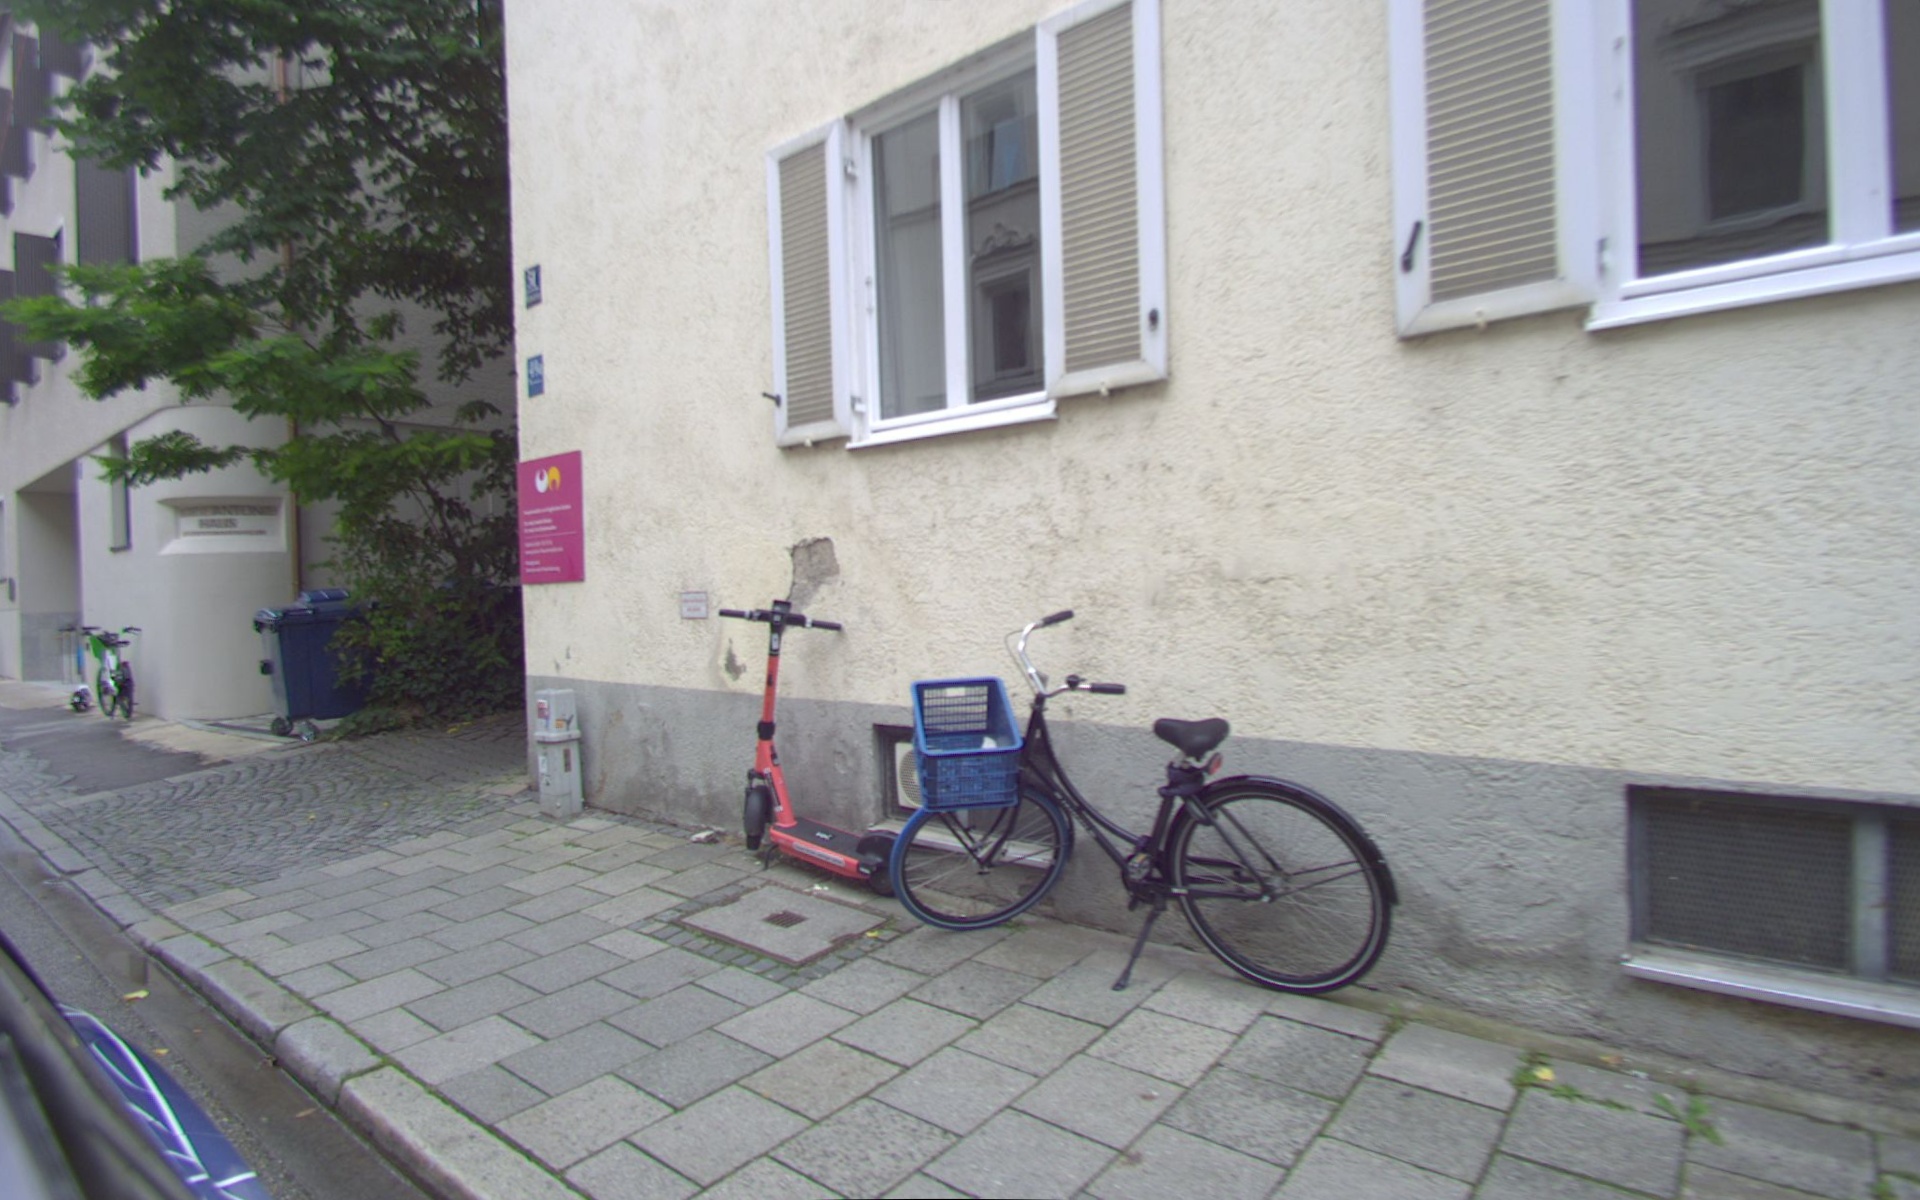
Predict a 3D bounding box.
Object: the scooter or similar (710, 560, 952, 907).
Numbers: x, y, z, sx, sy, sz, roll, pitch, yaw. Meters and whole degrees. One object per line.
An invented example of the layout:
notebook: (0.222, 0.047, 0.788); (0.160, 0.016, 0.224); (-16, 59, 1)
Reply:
scooter or similar: (-0.613, 0.535, 4.557); (1.238, 1.386, 0.314); (-1, 0, 40)

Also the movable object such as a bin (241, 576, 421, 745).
movable object such as a bin: (-6.318, 0.572, 10.164); (1.161, 1.452, 1.249); (-9, 4, -44)

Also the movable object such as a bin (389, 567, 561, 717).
movable object such as a bin: (-5.282, 0.436, 11.022); (1.248, 1.415, 1.162); (-3, 4, 42)

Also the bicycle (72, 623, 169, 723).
bicycle: (-10.860, 0.904, 13.067); (1.880, 1.170, 0.539); (-1, 2, 39)

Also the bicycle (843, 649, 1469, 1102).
bicycle: (0.563, 0.710, 3.260); (1.819, 0.991, 0.697); (-1, 5, 36)

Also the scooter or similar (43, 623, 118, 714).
scooter or similar: (-12.461, 0.937, 14.368); (0.544, 1.152, 1.362); (-5, 3, -33)
